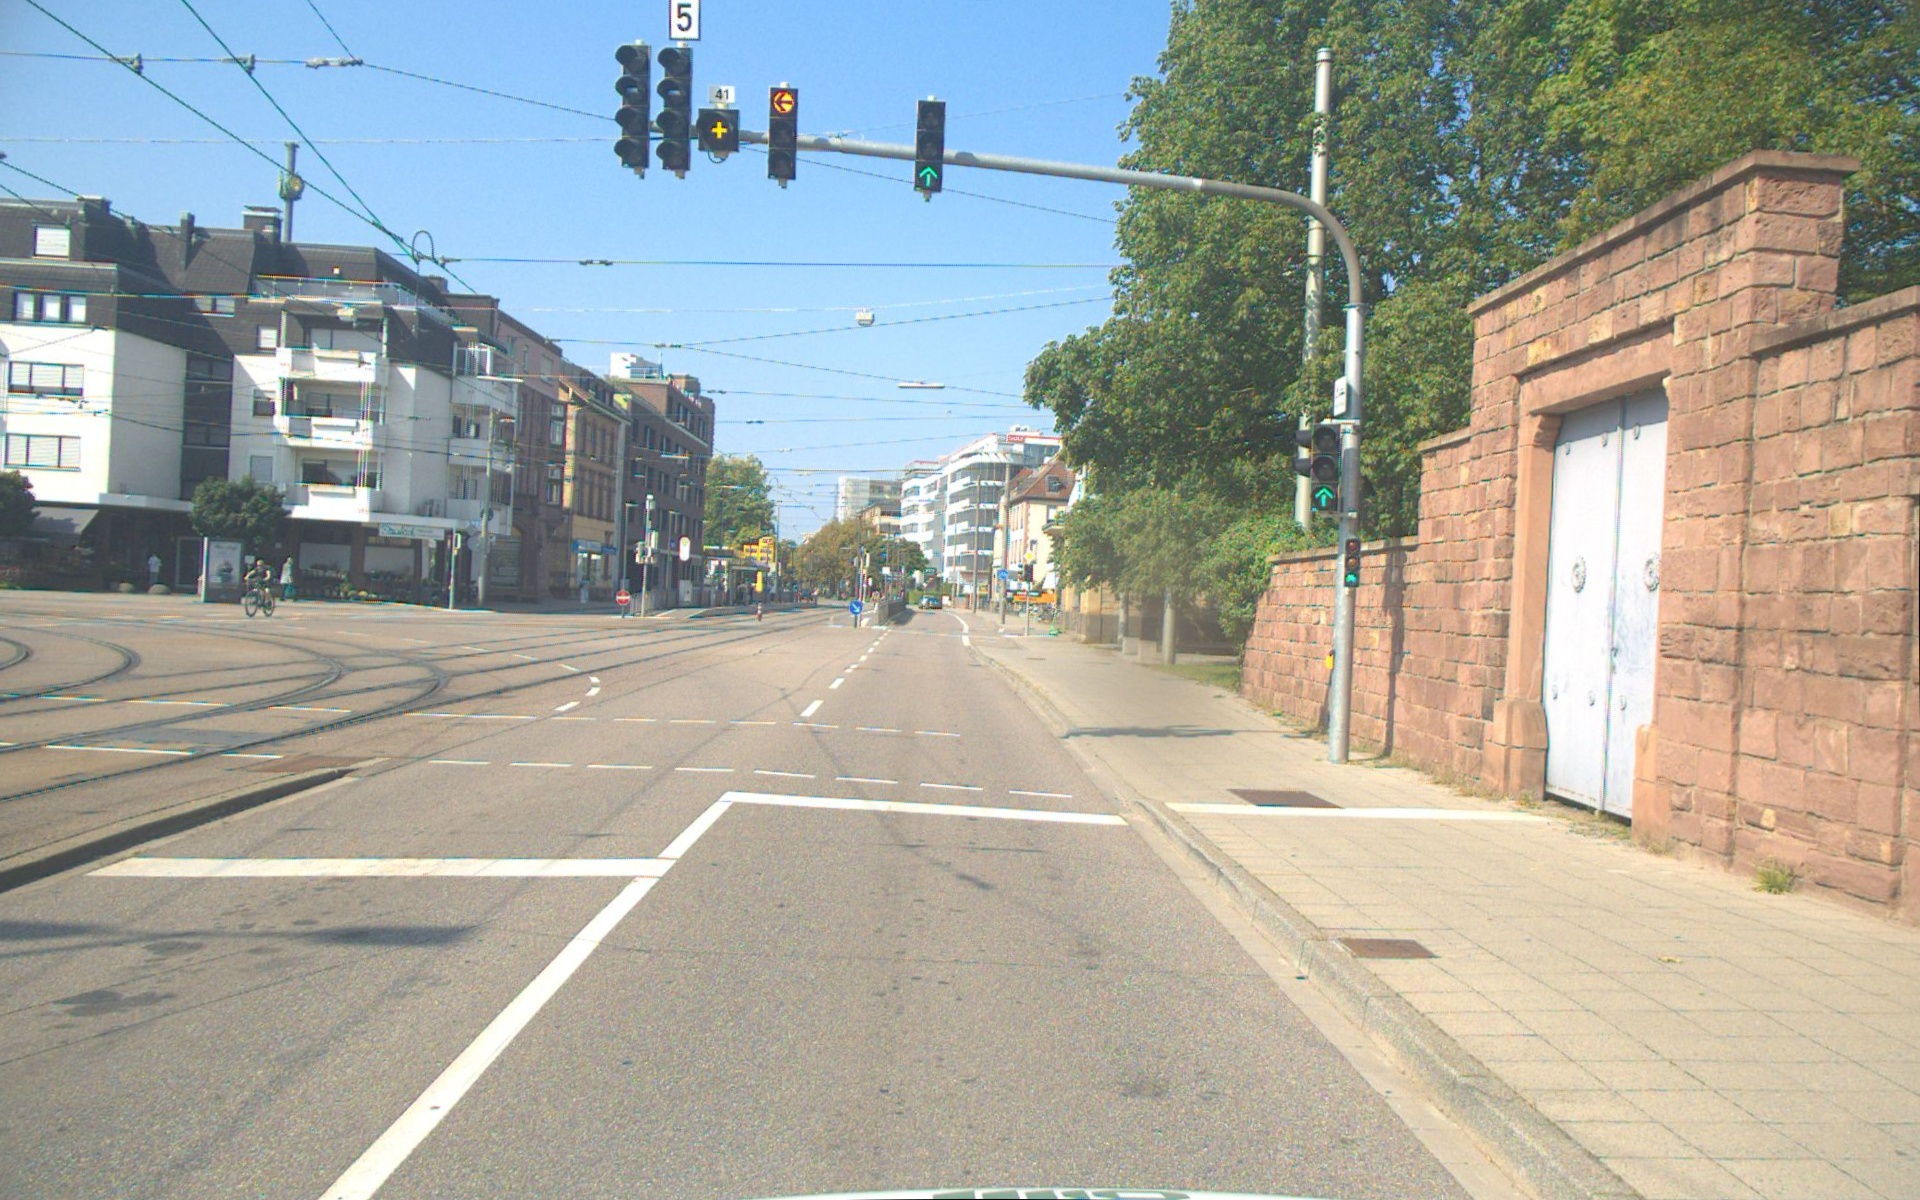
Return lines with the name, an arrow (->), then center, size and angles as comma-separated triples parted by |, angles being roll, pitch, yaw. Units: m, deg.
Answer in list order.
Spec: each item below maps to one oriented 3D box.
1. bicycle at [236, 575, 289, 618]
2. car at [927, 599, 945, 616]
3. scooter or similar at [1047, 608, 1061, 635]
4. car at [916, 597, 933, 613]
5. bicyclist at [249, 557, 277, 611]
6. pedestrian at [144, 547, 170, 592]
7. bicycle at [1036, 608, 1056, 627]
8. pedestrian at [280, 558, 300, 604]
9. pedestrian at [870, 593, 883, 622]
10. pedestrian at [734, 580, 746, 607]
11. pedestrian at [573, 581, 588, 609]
bicycle -> -20.230, -0.107, 48.003 | 0.563, 1.200, 2.208 | 1, 0, 1
car -> -2.787, 0.847, 192.772 | 1.970, 1.891, 4.000 | 1, 0, 0
scooter or similar -> 4.062, 0.928, 71.320 | 0.512, 1.153, 1.511 | 1, 0, 0
car -> -4.252, 0.558, 198.872 | 1.970, 1.891, 4.000 | 1, 0, 0
bicyclist -> -20.222, -0.459, 47.993 | 0.556, 1.549, 0.490 | 1, 0, 0
pedestrian -> -32.222, -1.235, 66.364 | 0.665, 1.771, 0.698 | 1, 0, 0
bicycle -> 5.327, 1.109, 103.156 | 0.717, 1.152, 2.834 | -1, 0, -8
pedestrian -> -26.359, -0.750, 65.082 | 0.593, 1.776, 0.559 | 1, -1, -34
pedestrian -> -5.017, 0.454, 99.387 | 0.705, 1.733, 0.884 | 1, 0, 0
pedestrian -> -14.506, -0.401, 109.003 | 0.693, 1.778, 0.799 | 1, 0, 0
pedestrian -> -22.491, -0.279, 98.105 | 0.473, 1.587, 0.888 | 3, -1, 10
